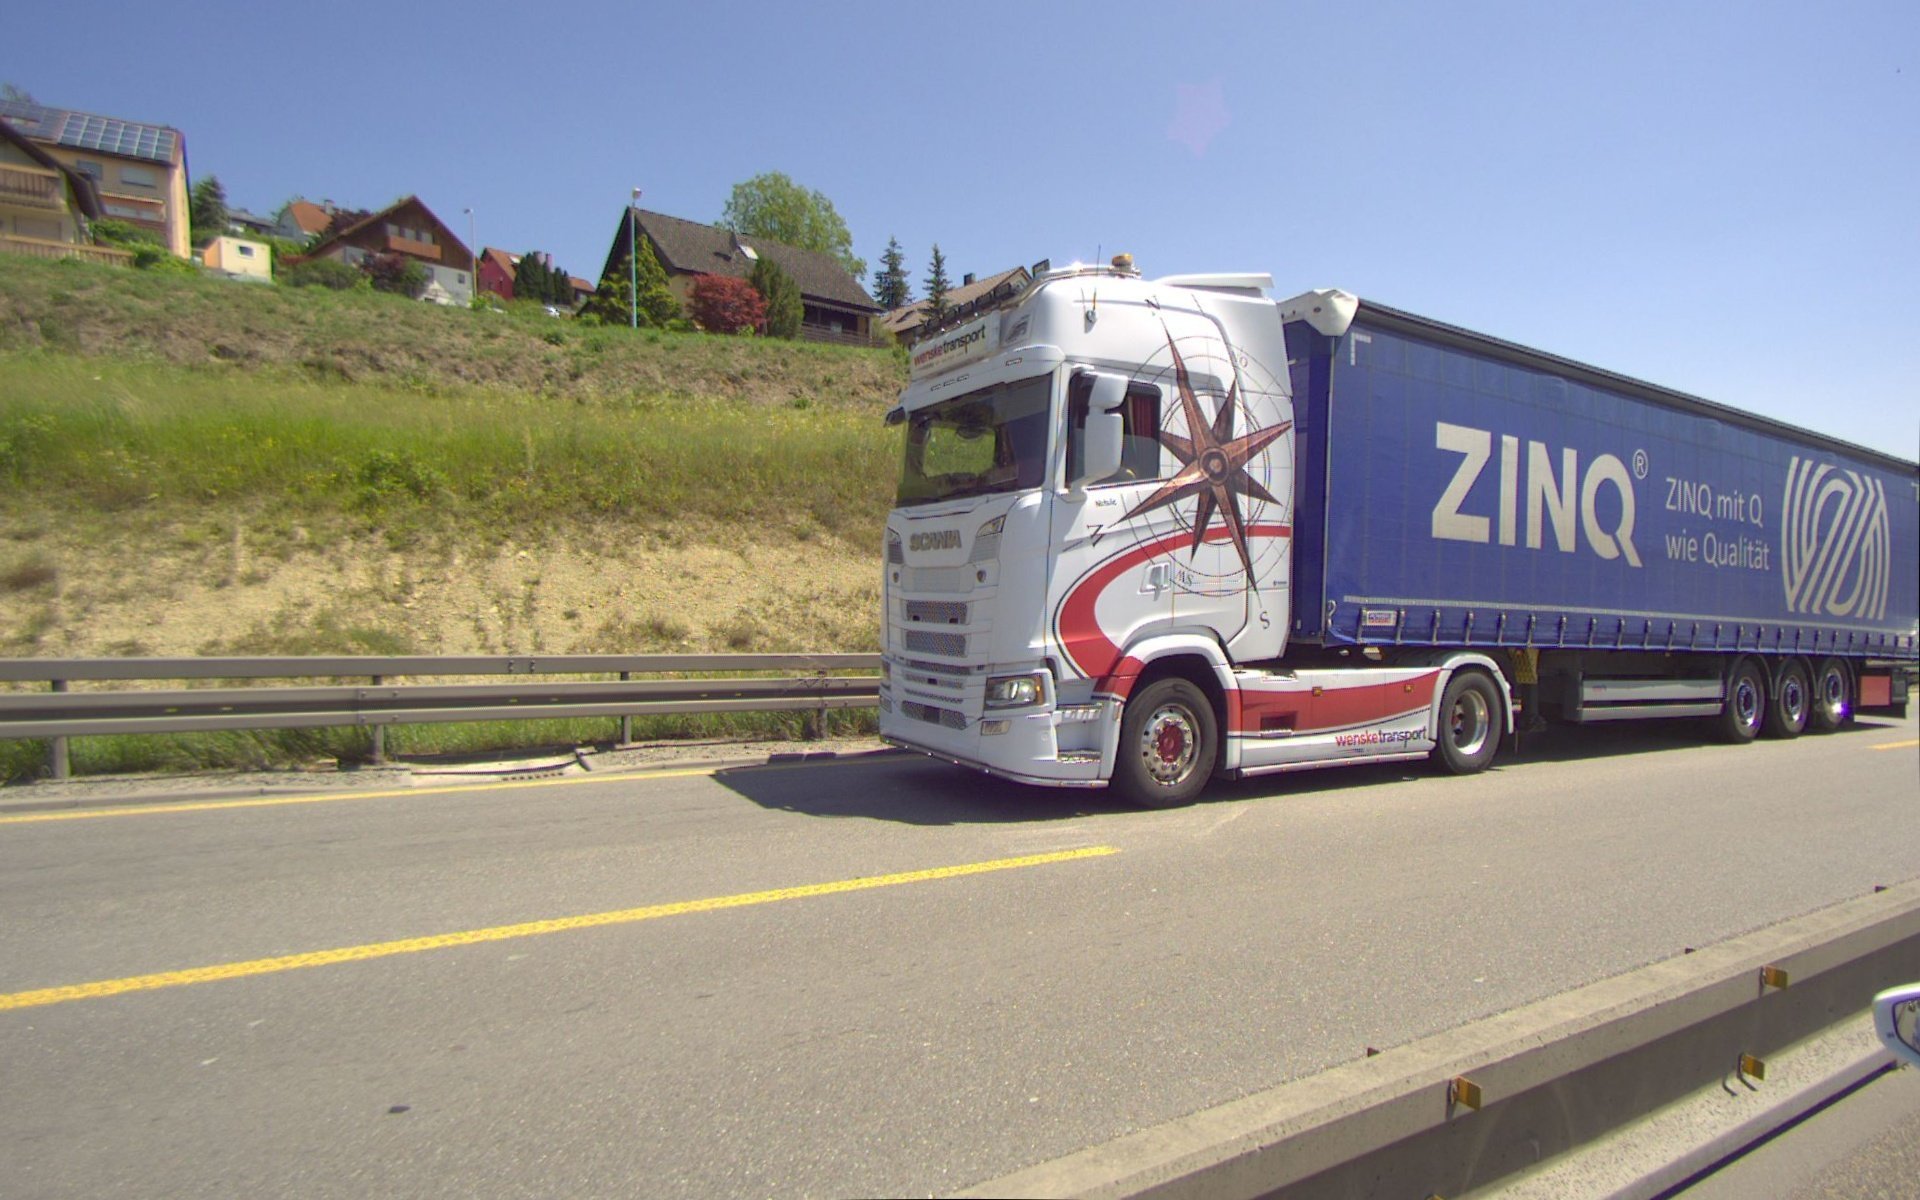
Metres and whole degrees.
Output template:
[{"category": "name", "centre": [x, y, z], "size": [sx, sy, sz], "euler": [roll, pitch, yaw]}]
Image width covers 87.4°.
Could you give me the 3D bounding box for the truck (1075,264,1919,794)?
[{"category": "truck", "centre": [7.996, -0.426, 12.949], "size": [13.817, 4.215, 3.227], "euler": [1, 0, -31]}]

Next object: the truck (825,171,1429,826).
[{"category": "truck", "centre": [1.394, -0.617, 8.949], "size": [4.198, 4.215, 3.223], "euler": [1, 0, -31]}]
